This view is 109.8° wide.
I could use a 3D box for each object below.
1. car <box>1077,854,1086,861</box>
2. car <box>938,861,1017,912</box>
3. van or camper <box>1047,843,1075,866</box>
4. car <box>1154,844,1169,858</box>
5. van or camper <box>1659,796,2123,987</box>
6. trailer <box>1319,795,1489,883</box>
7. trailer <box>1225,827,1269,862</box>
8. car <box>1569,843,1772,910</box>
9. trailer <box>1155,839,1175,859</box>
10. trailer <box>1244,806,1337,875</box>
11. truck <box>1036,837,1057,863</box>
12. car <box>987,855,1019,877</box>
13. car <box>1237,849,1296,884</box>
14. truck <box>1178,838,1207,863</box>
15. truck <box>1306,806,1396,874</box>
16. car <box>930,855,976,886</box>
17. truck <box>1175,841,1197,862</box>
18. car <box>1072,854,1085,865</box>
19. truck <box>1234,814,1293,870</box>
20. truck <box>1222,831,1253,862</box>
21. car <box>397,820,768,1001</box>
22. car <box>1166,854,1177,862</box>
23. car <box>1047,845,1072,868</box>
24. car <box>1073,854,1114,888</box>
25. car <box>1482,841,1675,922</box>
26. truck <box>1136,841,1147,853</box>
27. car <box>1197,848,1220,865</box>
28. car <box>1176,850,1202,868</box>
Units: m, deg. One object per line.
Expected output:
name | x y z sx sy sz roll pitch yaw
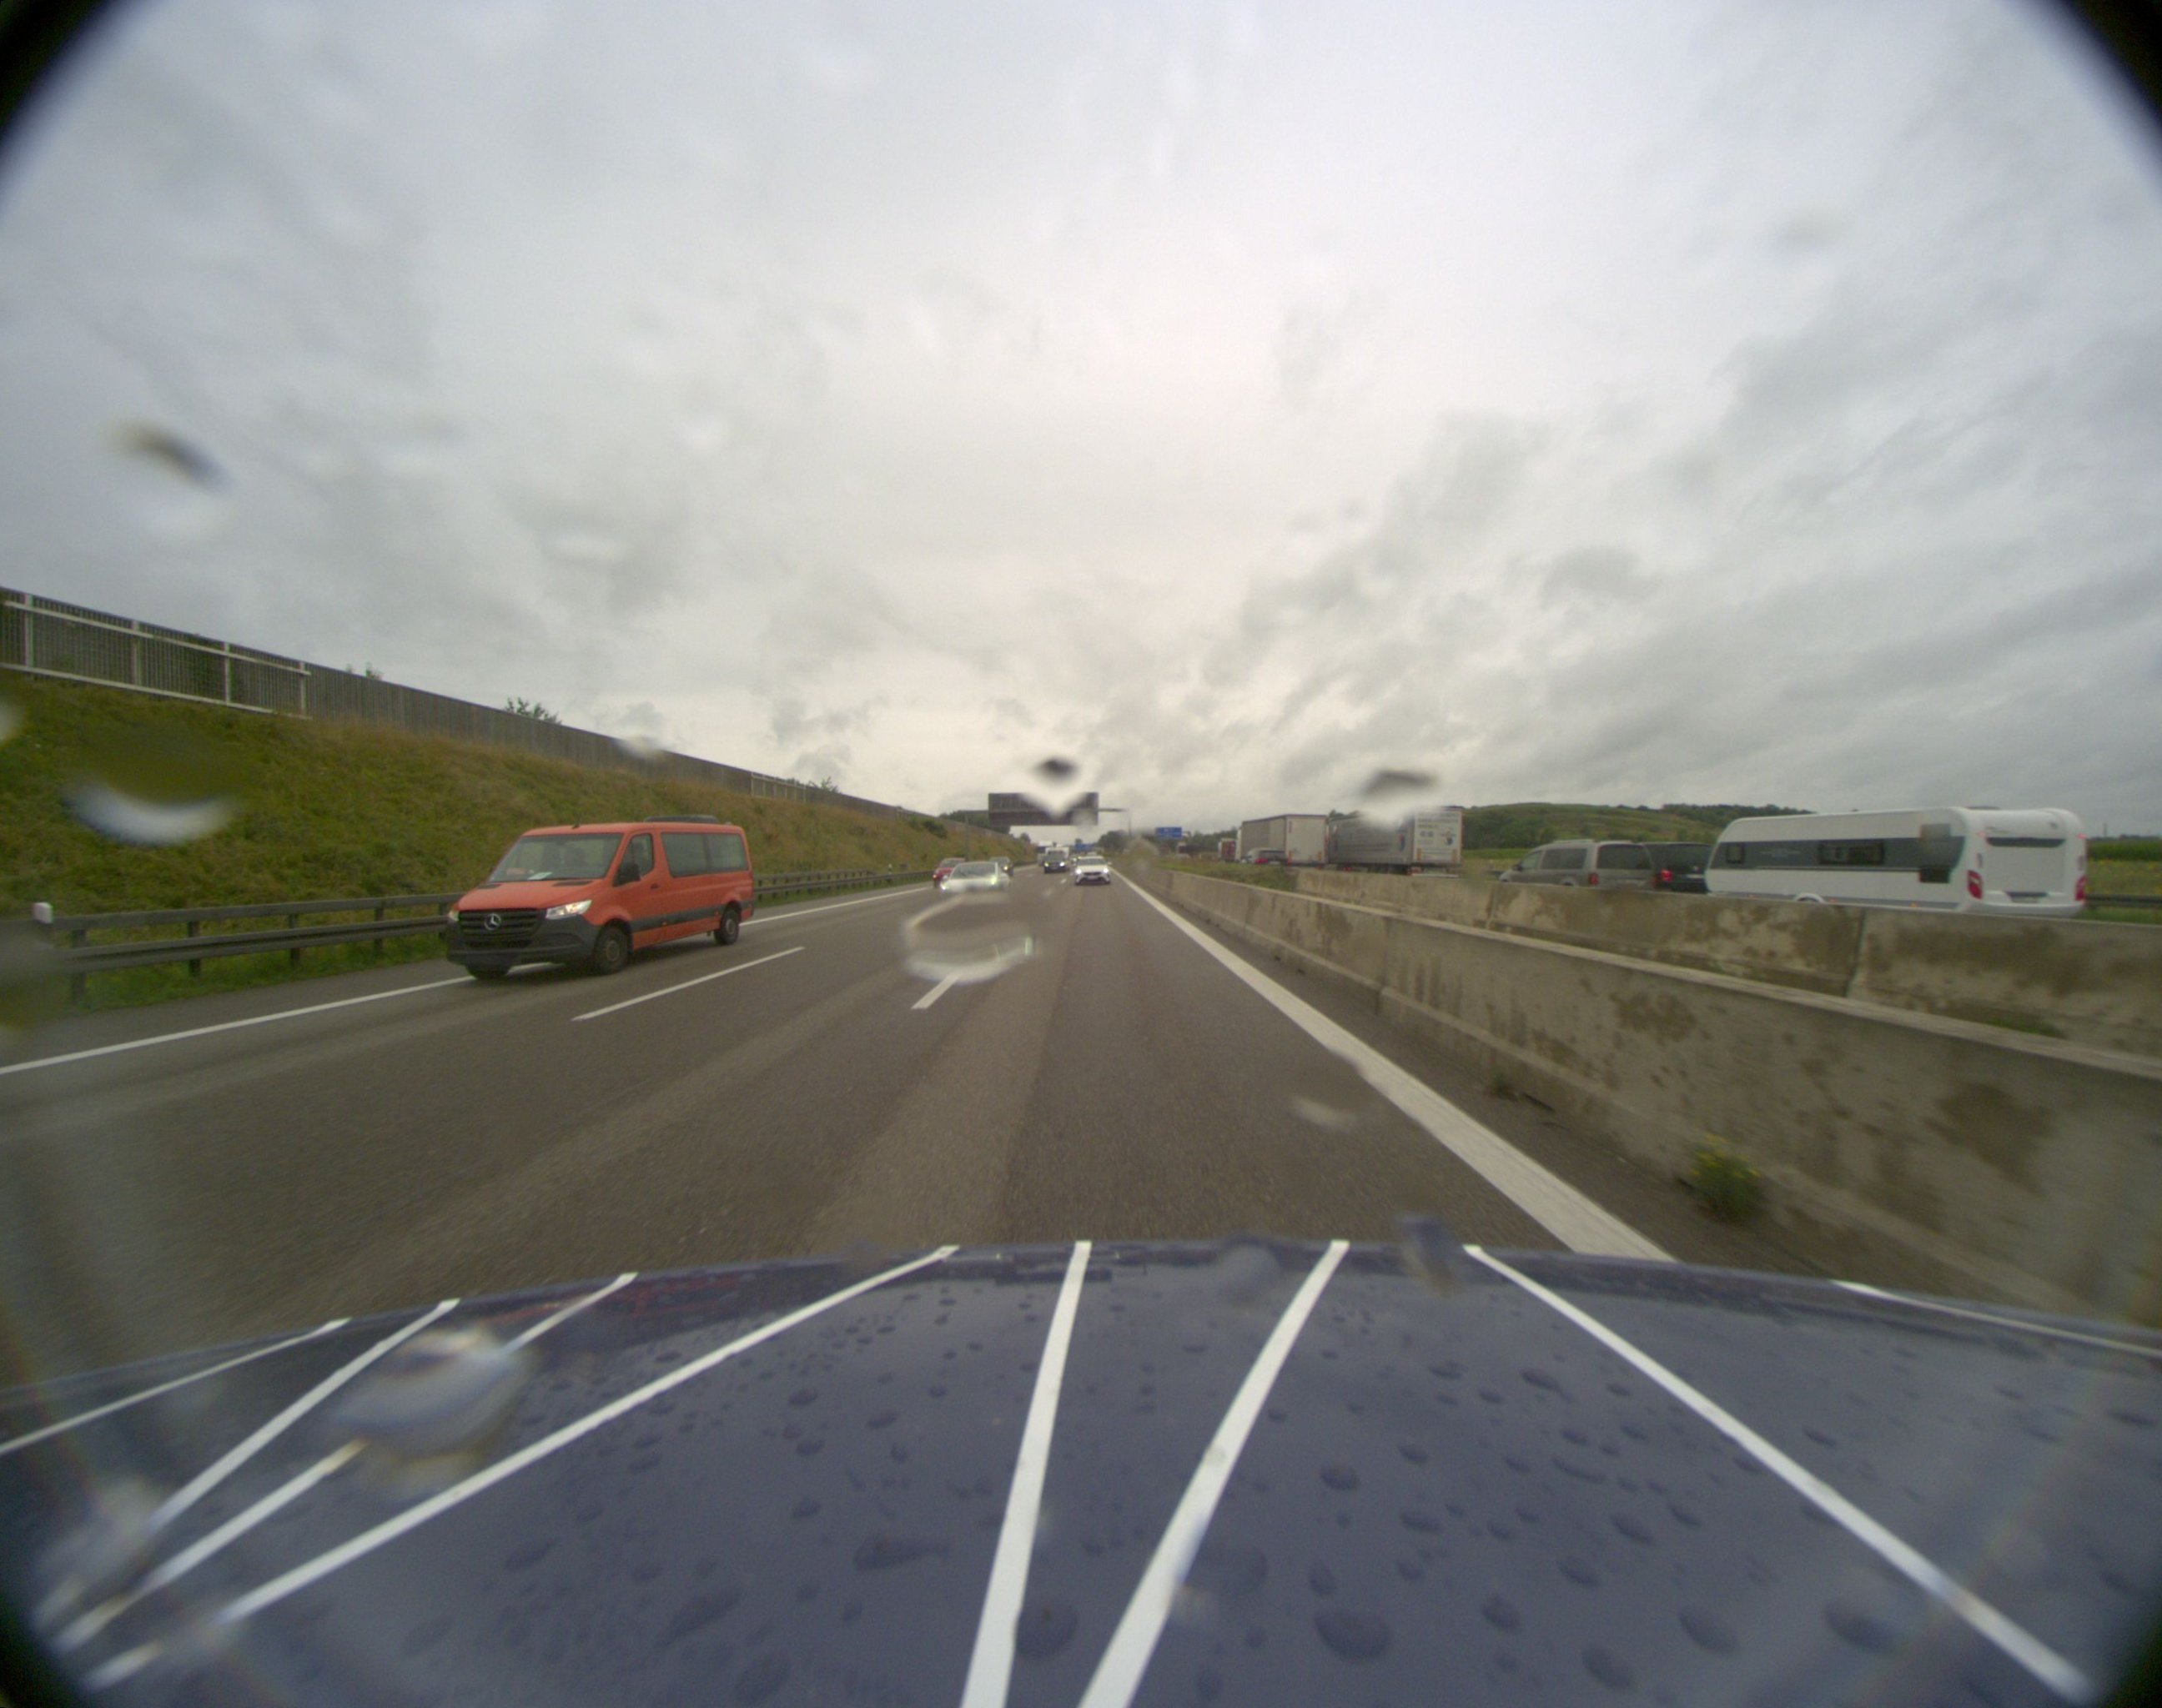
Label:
car | 0.143 0.922 193.440 1.998 1.696 4.000 -3 1 1
car | -3.348 0.998 25.405 1.878 1.355 4.812 -3 1 1
van or camper | -1.911 -0.006 75.823 2.432 2.139 6.498 -3 1 1
car | 12.362 -0.450 116.733 1.998 2.002 4.800 -1 0 1
van or camper | 18.148 0.660 18.110 2.716 3.483 7.698 -3 1 -1
trailer | 18.514 -0.852 45.557 3.722 4.246 15.623 -3 1 1
trailer | 19.444 -0.952 89.672 2.647 3.703 12.195 -3 -1 1
car | 18.047 0.635 23.691 2.097 1.743 5.133 -3 0 -3
trailer | 20.409 -1.239 185.697 3.396 4.741 11.680 -3 0 0
trailer | 14.032 -0.901 52.265 3.093 4.065 12.329 -3 1 1
truck | -5.686 -0.698 127.070 3.089 4.003 6.955 -3 1 0
car | -6.123 0.907 60.138 1.929 1.480 4.485 -3 1 0
car | 9.811 0.608 40.511 1.998 1.754 5.071 0 0 1
truck | 21.700 -0.732 148.373 3.521 4.458 11.785 -3 1 -1
truck | 18.671 -0.973 53.222 3.624 4.250 7.591 -3 1 1
car | -7.174 0.892 43.008 1.878 1.526 3.999 -3 1 0
truck | 15.689 -0.400 113.627 2.317 2.892 7.423 -3 1 1
car | -0.436 0.854 122.818 1.999 1.759 3.999 -1 0 -1
truck | 14.162 -0.928 59.440 3.100 3.953 6.371 -3 1 1
truck | 19.597 -0.866 95.623 2.647 3.703 5.872 -3 -1 1
car | -7.760 0.727 12.973 2.091 2.301 6.181 -2 0 1
car | 19.813 0.812 167.135 1.887 1.606 5.014 -1 0 0
car | -1.994 0.218 70.593 1.998 2.002 4.937 -3 1 1
car | 0.617 0.801 37.209 1.840 1.455 4.000 -3 1 1
car | 13.264 0.649 20.764 1.888 1.913 5.278 0 0 1
truck | 20.971 -2.332 263.732 3.191 3.944 10.810 -3 1 2
car | 15.026 0.264 89.565 1.998 2.002 4.360 -1 0 1
car | 11.122 0.509 78.722 2.098 1.700 4.800 -2 0 2
